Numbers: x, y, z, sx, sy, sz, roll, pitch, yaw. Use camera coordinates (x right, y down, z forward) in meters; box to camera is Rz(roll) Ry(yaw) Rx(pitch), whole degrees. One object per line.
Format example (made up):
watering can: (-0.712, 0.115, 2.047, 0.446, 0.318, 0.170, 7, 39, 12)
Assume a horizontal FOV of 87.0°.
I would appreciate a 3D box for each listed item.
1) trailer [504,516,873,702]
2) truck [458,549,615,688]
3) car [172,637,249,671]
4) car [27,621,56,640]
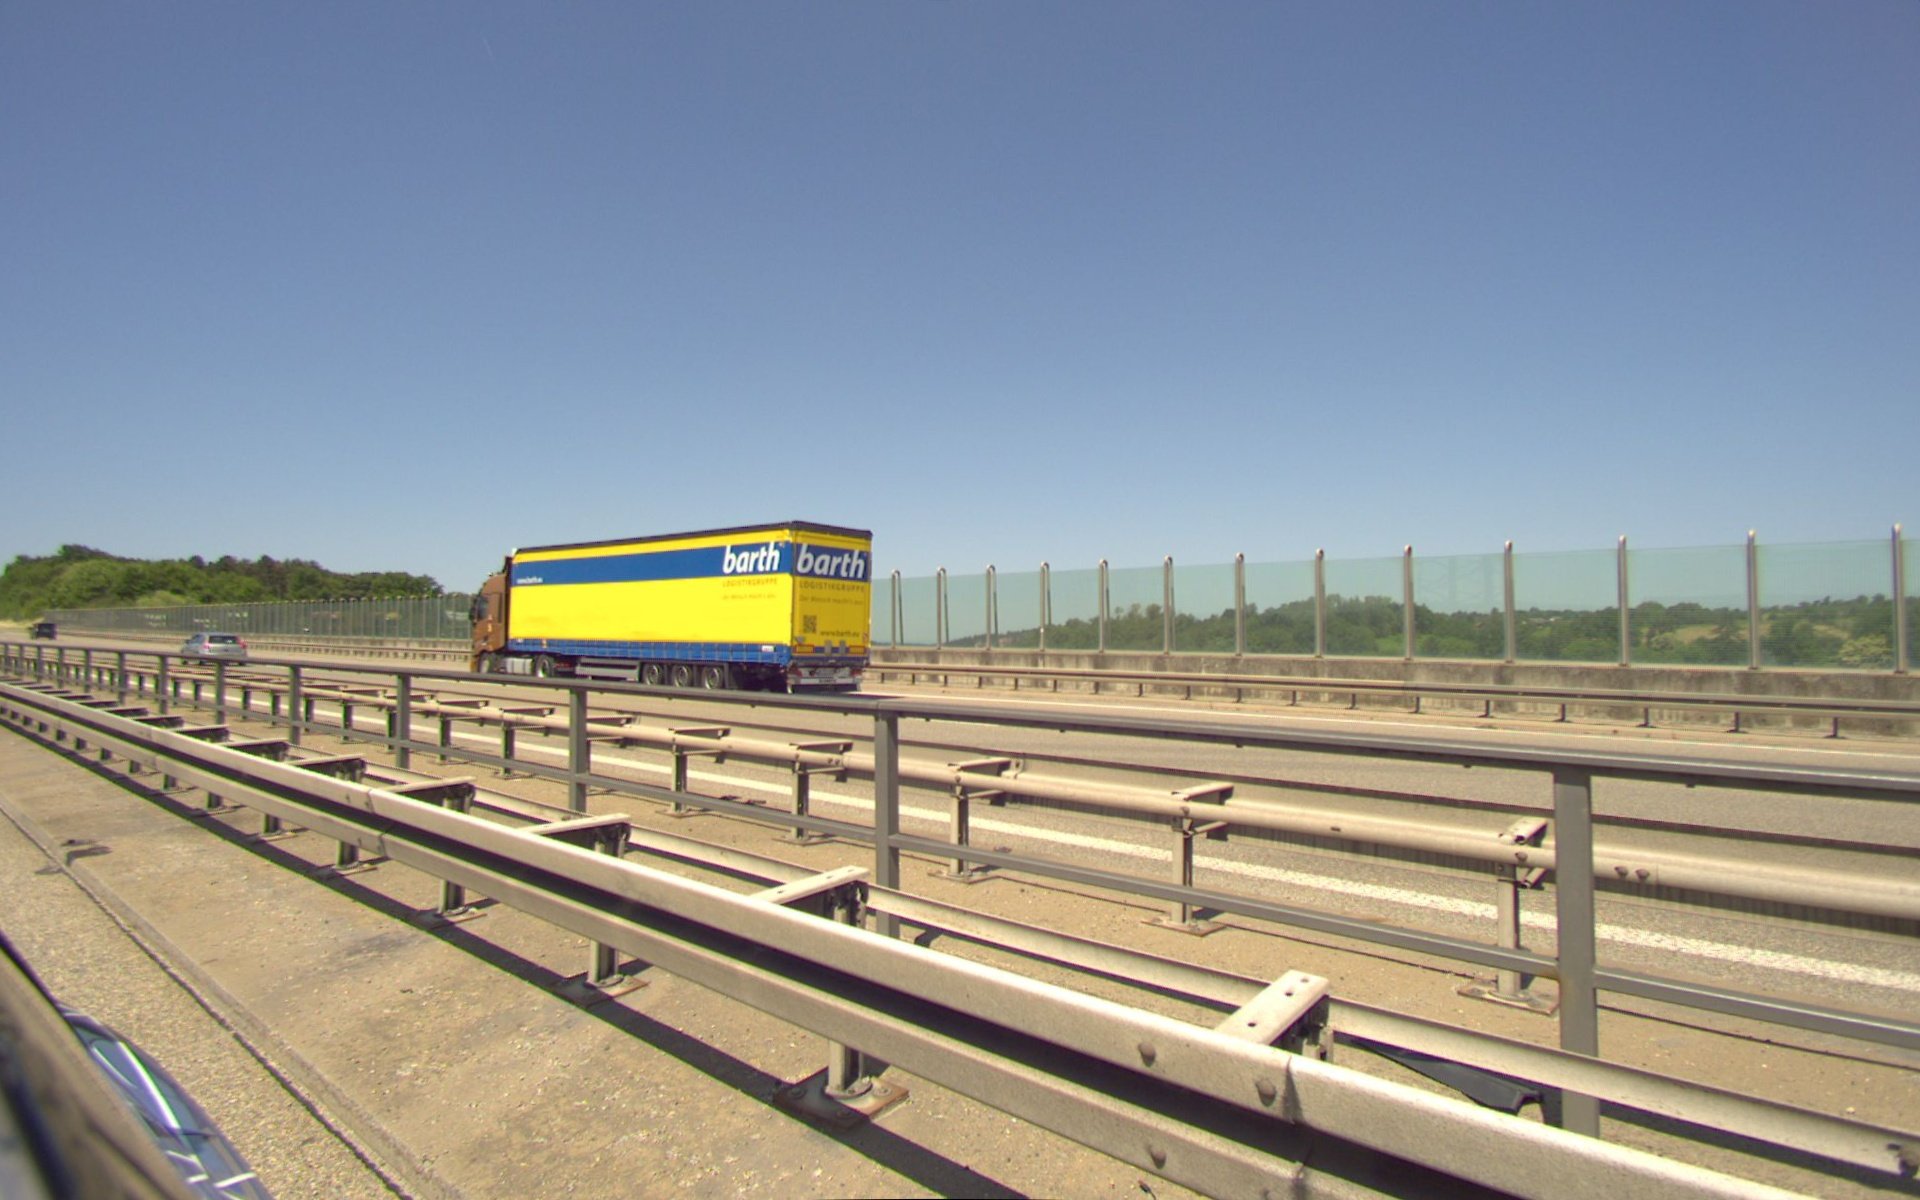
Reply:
trailer: (-8.082, 0.381, 27.703, 13.793, 4.095, 2.398, -2, -3, 41)
truck: (-13.707, 0.623, 32.589, 5.540, 4.089, 2.389, -1, -3, 41)
car: (-32.520, 2.306, 43.873, 4.075, 1.392, 1.744, -2, -4, 40)
car: (-101.523, 3.379, 111.854, 3.966, 2.029, 1.995, -1, 0, 41)
